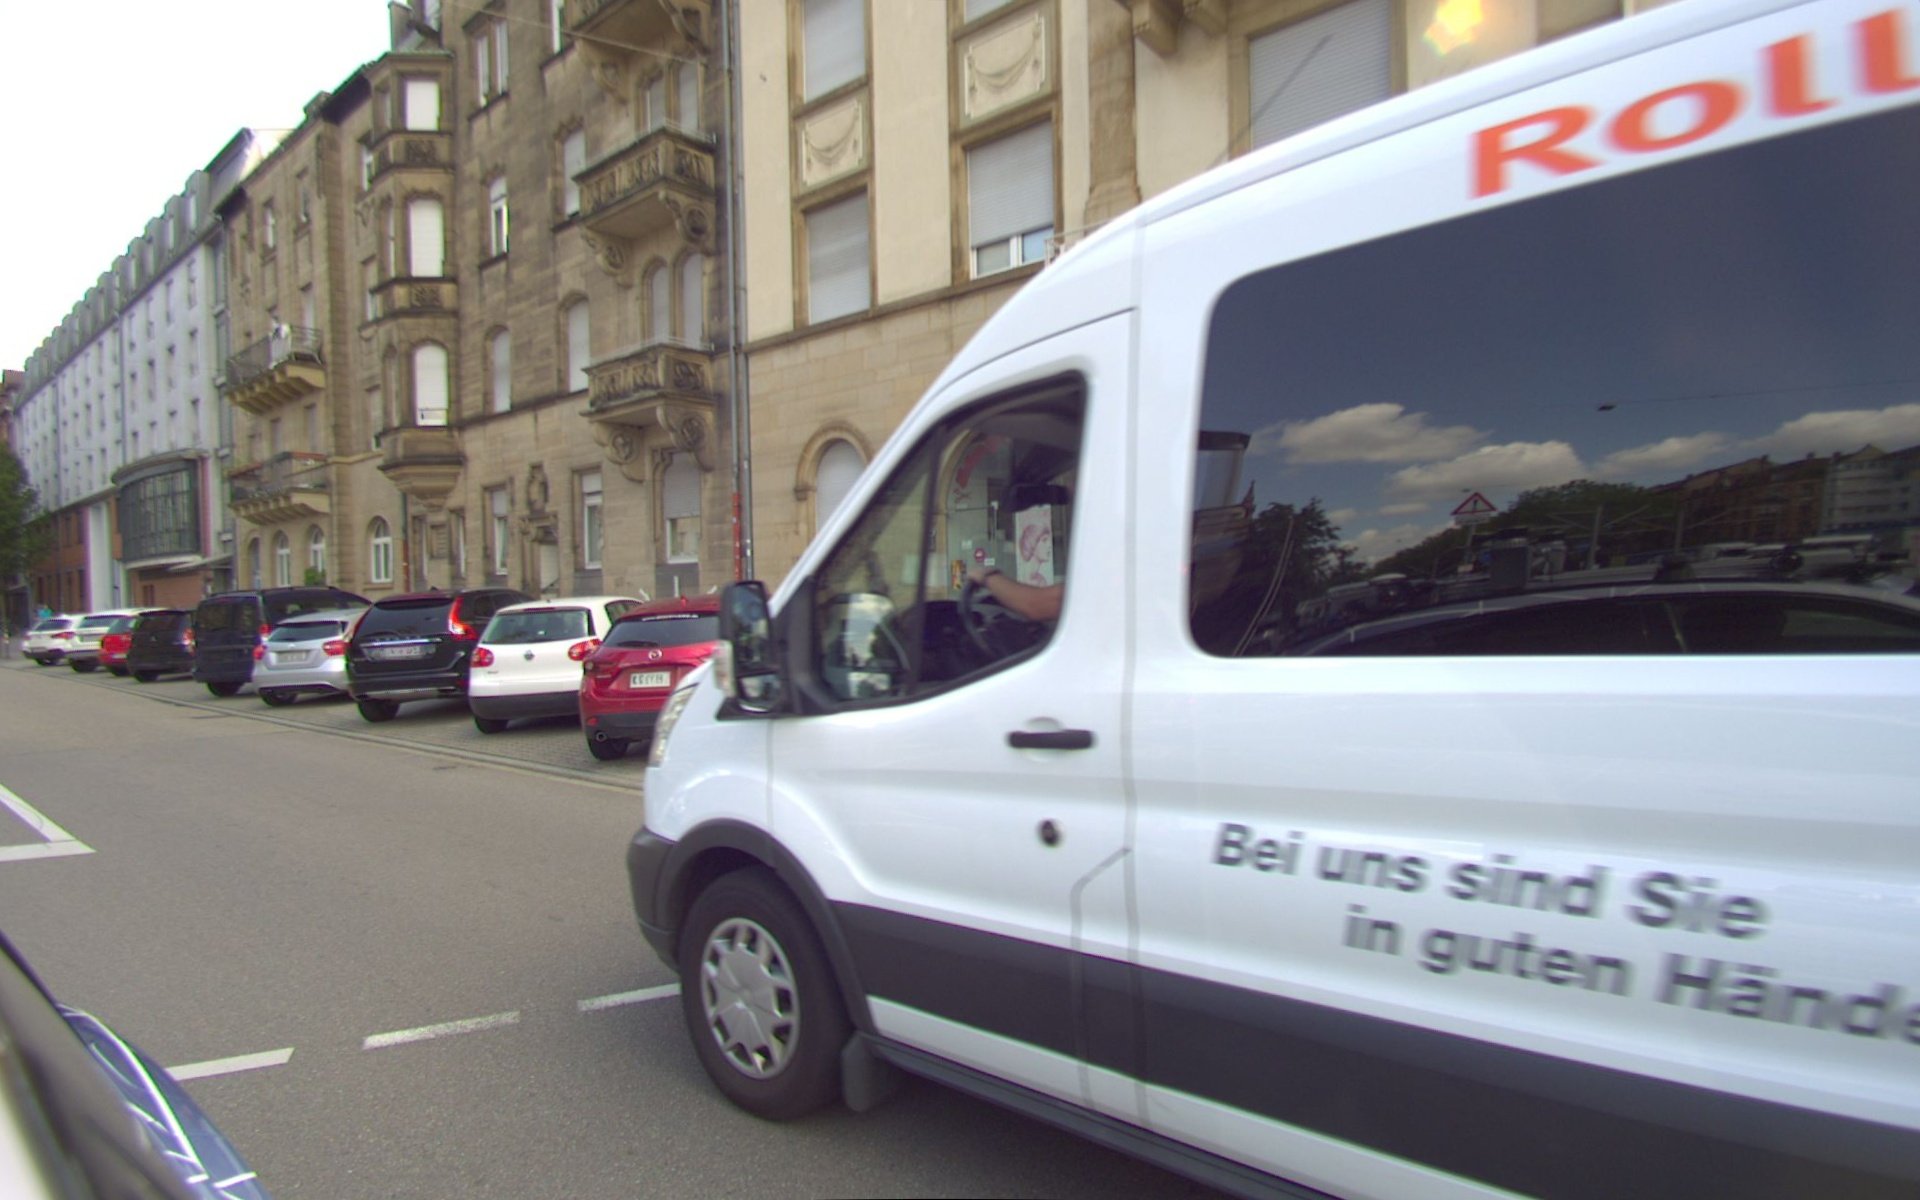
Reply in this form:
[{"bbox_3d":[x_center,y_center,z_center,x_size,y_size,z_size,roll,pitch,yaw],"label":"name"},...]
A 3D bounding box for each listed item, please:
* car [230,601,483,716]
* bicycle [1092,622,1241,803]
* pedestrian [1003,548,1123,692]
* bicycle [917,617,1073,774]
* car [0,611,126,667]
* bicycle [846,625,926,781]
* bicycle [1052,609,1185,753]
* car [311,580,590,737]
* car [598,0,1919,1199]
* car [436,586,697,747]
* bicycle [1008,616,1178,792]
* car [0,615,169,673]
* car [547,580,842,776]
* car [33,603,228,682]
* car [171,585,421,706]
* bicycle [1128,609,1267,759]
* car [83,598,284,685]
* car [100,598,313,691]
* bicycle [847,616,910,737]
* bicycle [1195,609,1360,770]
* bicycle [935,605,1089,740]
[{"bbox_3d":[-9.921,0.878,17.054,1.708,1.439,3.952,-4,2,2],"label":"car"},{"bbox_3d":[1.481,0.734,7.103,0.417,1.059,1.355,-2,2,38],"label":"bicycle"},{"bbox_3d":[1.244,0.219,12.190,0.995,1.606,0.932,-1,4,41],"label":"pedestrian"},{"bbox_3d":[0.321,0.725,8.237,0.462,1.059,1.466,-2,2,37],"label":"bicycle"},{"bbox_3d":[-31.038,1.299,34.544,1.708,1.597,3.954,-4,1,1],"label":"car"},{"bbox_3d":[-0.649,0.806,8.591,0.549,1.059,1.815,-3,2,-5],"label":"bicycle"},{"bbox_3d":[1.411,0.656,8.808,0.462,1.059,1.466,-2,2,37],"label":"bicycle"},{"bbox_3d":[-6.914,0.679,14.277,1.778,1.702,3.954,-4,2,1],"label":"car"},{"bbox_3d":[1.817,0.218,2.025,5.939,2.463,2.055,-3,-2,40],"label":"car"},{"bbox_3d":[-4.702,0.687,12.771,1.707,1.467,3.956,-4,3,-1],"label":"car"},{"bbox_3d":[1.006,0.703,7.377,0.462,1.059,1.464,-2,2,41],"label":"bicycle"},{"bbox_3d":[-25.929,1.244,30.055,1.707,1.485,3.953,-2,0,1],"label":"car"},{"bbox_3d":[-2.468,0.624,10.502,1.788,1.467,3.998,-3,2,3],"label":"car"},{"bbox_3d":[-21.525,1.031,26.496,1.708,1.597,3.954,-4,3,1],"label":"car"},{"bbox_3d":[-12.185,0.737,18.928,1.710,1.881,3.947,-3,2,7],"label":"car"},{"bbox_3d":[2.019,0.654,8.479,0.462,1.059,1.464,-2,2,41],"label":"bicycle"},{"bbox_3d":[-18.746,0.933,24.692,1.708,1.597,3.954,-4,4,1],"label":"car"},{"bbox_3d":[-16.729,0.914,22.756,1.708,1.597,3.954,-3,3,1],"label":"car"},{"bbox_3d":[-0.861,0.754,10.721,0.549,1.059,1.907,-3,2,-4],"label":"bicycle"},{"bbox_3d":[2.538,0.652,8.001,1.558,1.059,0.481,-5,2,-42],"label":"bicycle"},{"bbox_3d":[0.524,0.635,9.484,0.557,1.059,1.611,-2,2,39],"label":"bicycle"}]
